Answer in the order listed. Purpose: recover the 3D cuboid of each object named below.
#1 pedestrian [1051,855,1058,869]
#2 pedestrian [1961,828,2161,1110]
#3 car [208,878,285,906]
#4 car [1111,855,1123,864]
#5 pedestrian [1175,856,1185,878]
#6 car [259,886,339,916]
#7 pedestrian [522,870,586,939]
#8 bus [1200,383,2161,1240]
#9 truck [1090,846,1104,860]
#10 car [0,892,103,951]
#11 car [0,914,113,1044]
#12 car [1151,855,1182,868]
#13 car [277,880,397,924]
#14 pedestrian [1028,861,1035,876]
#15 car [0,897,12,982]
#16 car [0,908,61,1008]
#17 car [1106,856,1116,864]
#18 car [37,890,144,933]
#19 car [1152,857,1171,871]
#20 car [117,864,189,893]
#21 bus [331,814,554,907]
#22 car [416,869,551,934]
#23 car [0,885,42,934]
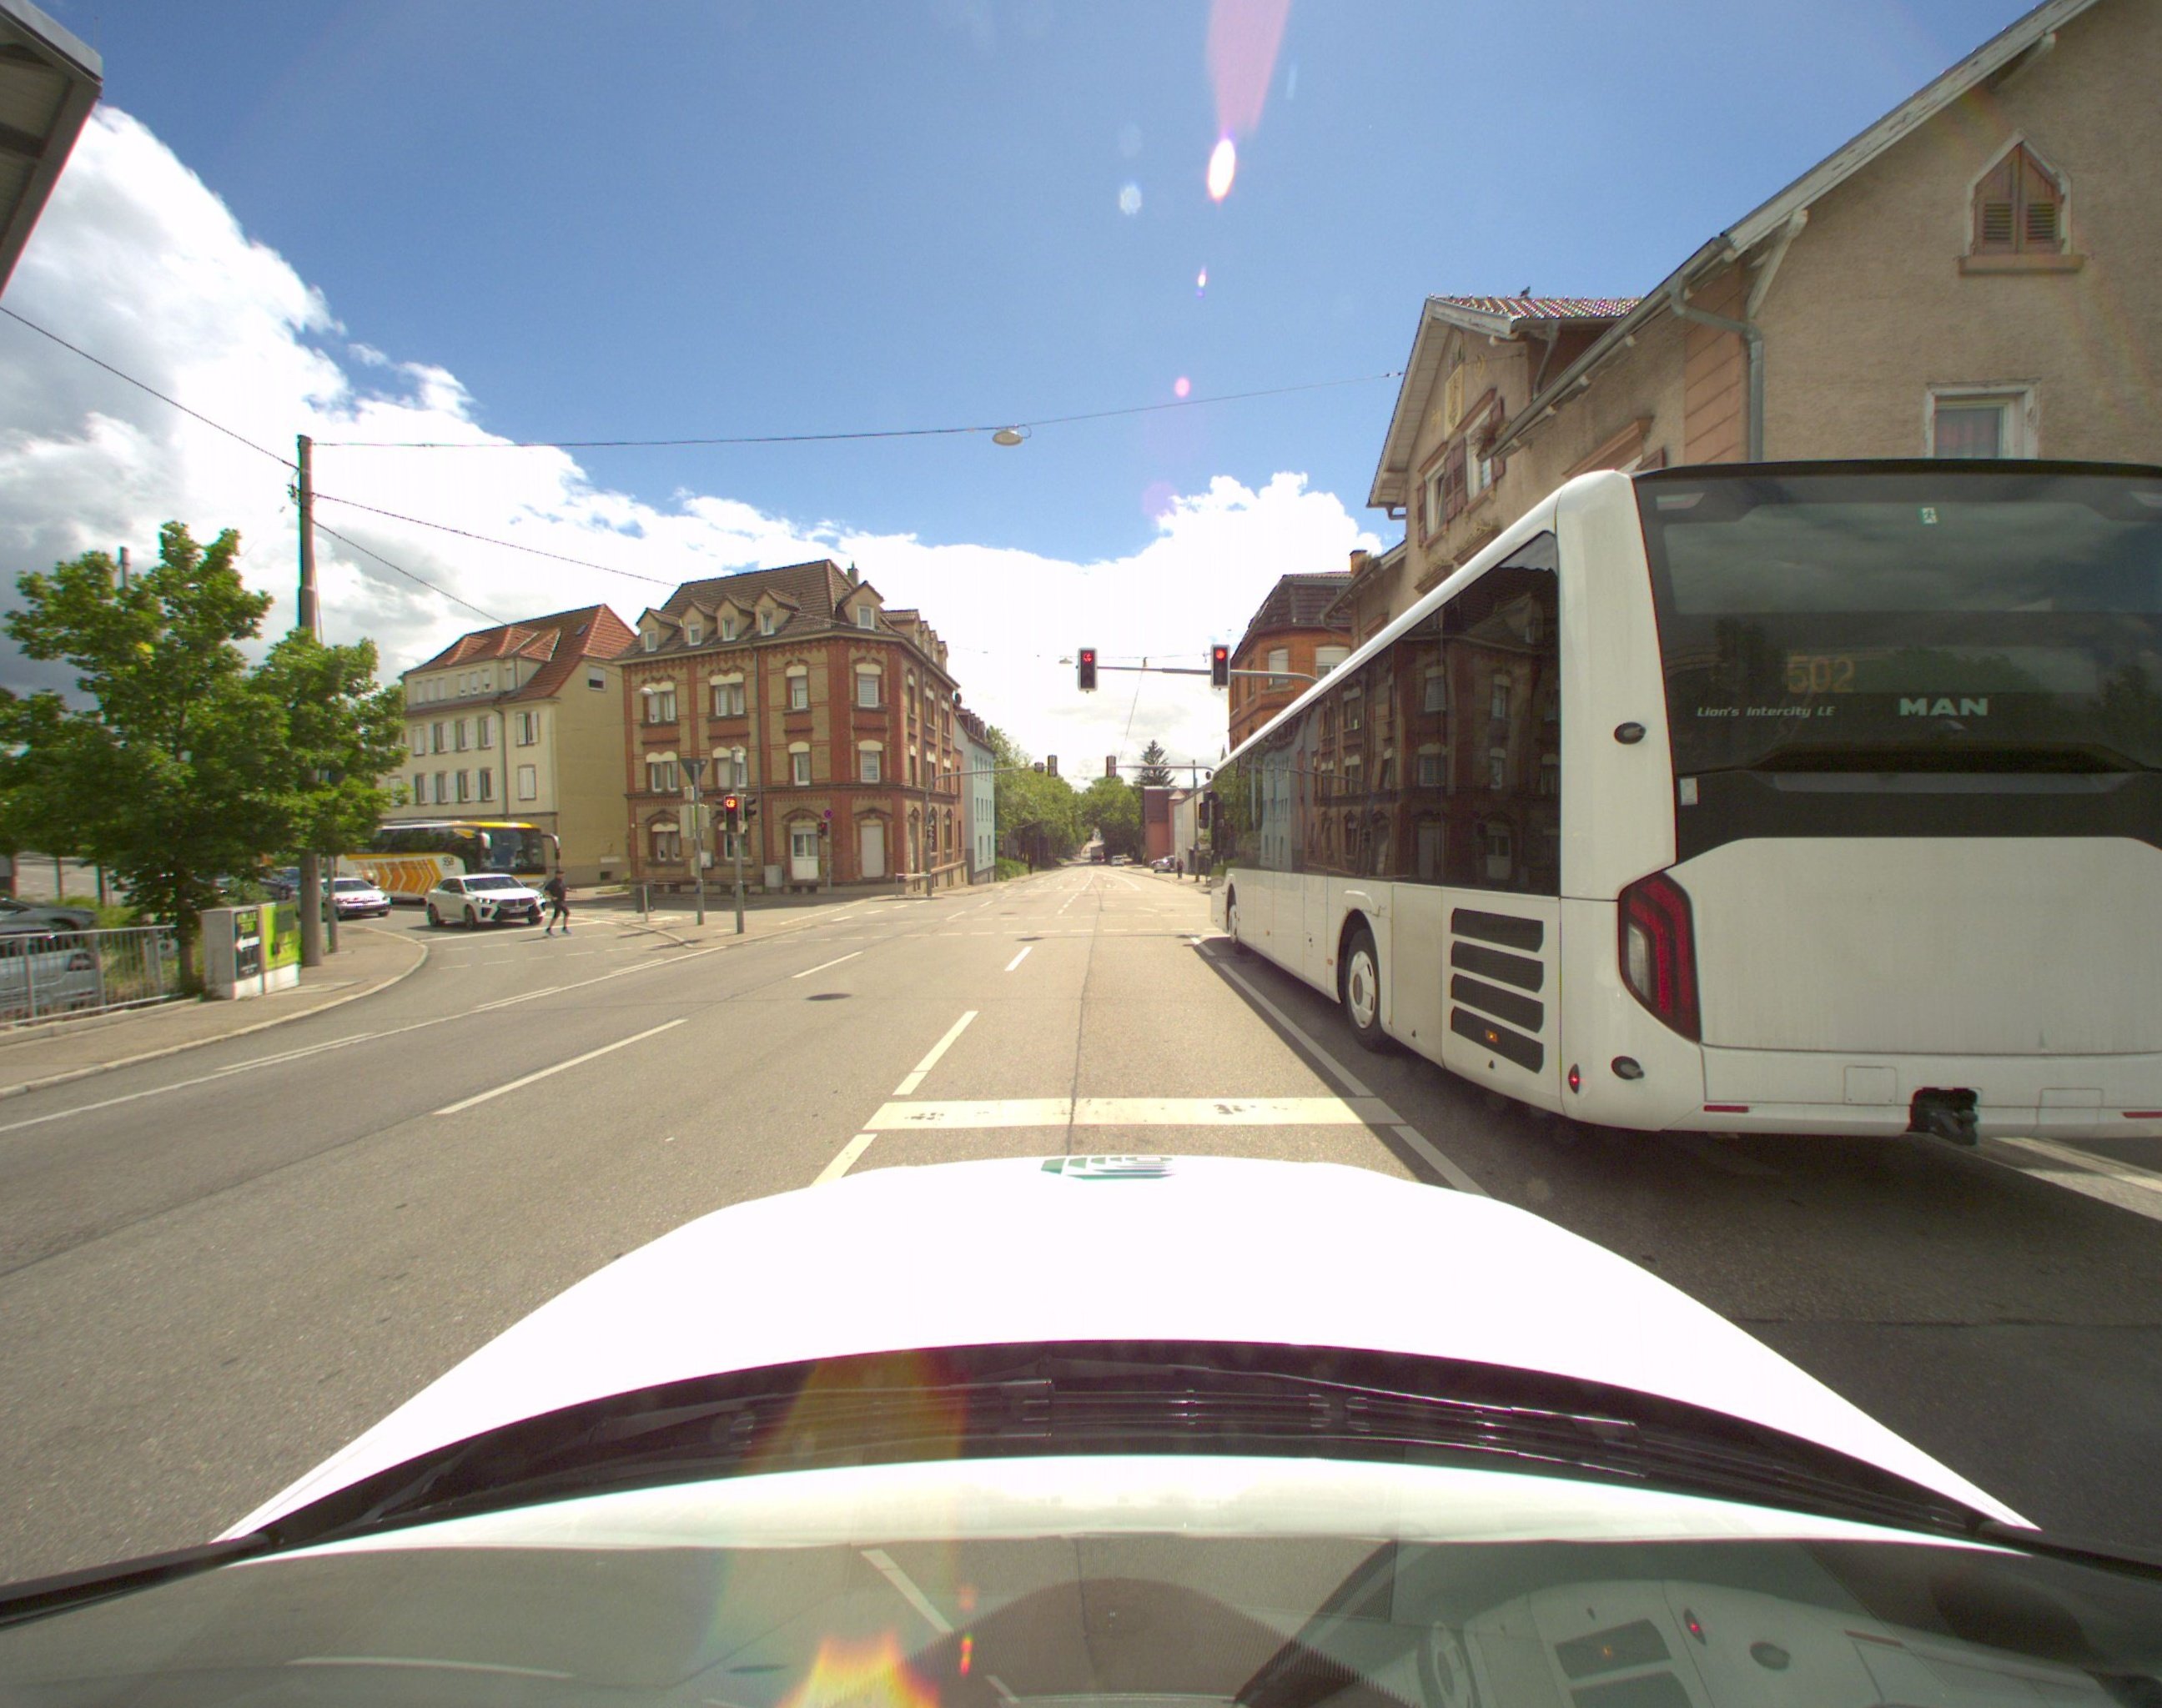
[{"bbox_3d":[-3.939,1.173,120.440,0.991,2.013,1.189,-2,0,1],"label":"pedestrian"},{"bbox_3d":[6.166,0.638,4.921,0.856,1.562,0.712,-2,-1,1],"label":"pedestrian"},{"bbox_3d":[-45.731,2.079,44.616,3.949,1.409,1.923,-2,0,29],"label":"car"},{"bbox_3d":[5.735,0.923,129.479,1.787,1.409,4.001,-1,0,2],"label":"car"},{"bbox_3d":[8.086,1.049,66.599,0.736,1.750,0.619,-2,0,1],"label":"pedestrian"},{"bbox_3d":[-39.489,2.352,41.101,3.949,1.409,1.762,-2,0,28],"label":"car"},{"bbox_3d":[-13.698,1.295,21.195,1.138,1.734,0.758,-2,0,-3],"label":"pedestrian"},{"bbox_3d":[3.427,-0.149,9.283,2.662,3.155,12.467,-2,0,2],"label":"bus"},{"bbox_3d":[3.780,-0.317,192.985,2.917,3.081,7.883,-2,0,0],"label":"truck"},{"bbox_3d":[-29.466,1.855,22.092,1.777,1.477,3.522,-2,0,32],"label":"car"},{"bbox_3d":[-16.003,1.803,12.033,3.321,1.560,1.692,0,2,32],"label":"car"},{"bbox_3d":[11.789,1.035,112.590,3.978,1.757,1.998,-2,0,-3],"label":"car"},{"bbox_3d":[-26.490,1.699,28.994,3.576,1.418,1.895,-2,0,25],"label":"car"},{"bbox_3d":[-5.492,1.617,90.249,0.727,1.565,0.561,-1,-1,0],"label":"pedestrian"},{"bbox_3d":[-23.476,1.759,16.513,3.455,1.680,1.663,-1,2,30],"label":"car"},{"bbox_3d":[-19.568,1.822,14.205,3.455,1.526,1.626,-1,2,29],"label":"car"},{"bbox_3d":[5.745,1.094,154.200,1.787,1.409,4.421,-1,0,3],"label":"car"},{"bbox_3d":[-37.487,2.158,30.820,3.456,1.448,1.811,-2,0,26],"label":"car"},{"bbox_3d":[9.224,1.156,93.026,1.788,1.409,4.000,-2,0,1],"label":"car"},{"bbox_3d":[-53.677,1.432,47.093,3.949,1.554,1.923,-2,0,29],"label":"car"},{"bbox_3d":[-28.124,0.385,35.600,12.109,3.622,2.788,-1,0,27],"label":"bus"},{"bbox_3d":[-18.215,1.362,24.785,4.251,1.551,1.846,2,4,32],"label":"car"},{"bbox_3d":[-36.188,1.831,25.599,1.785,1.553,4.023,-2,0,25],"label":"car"}]
